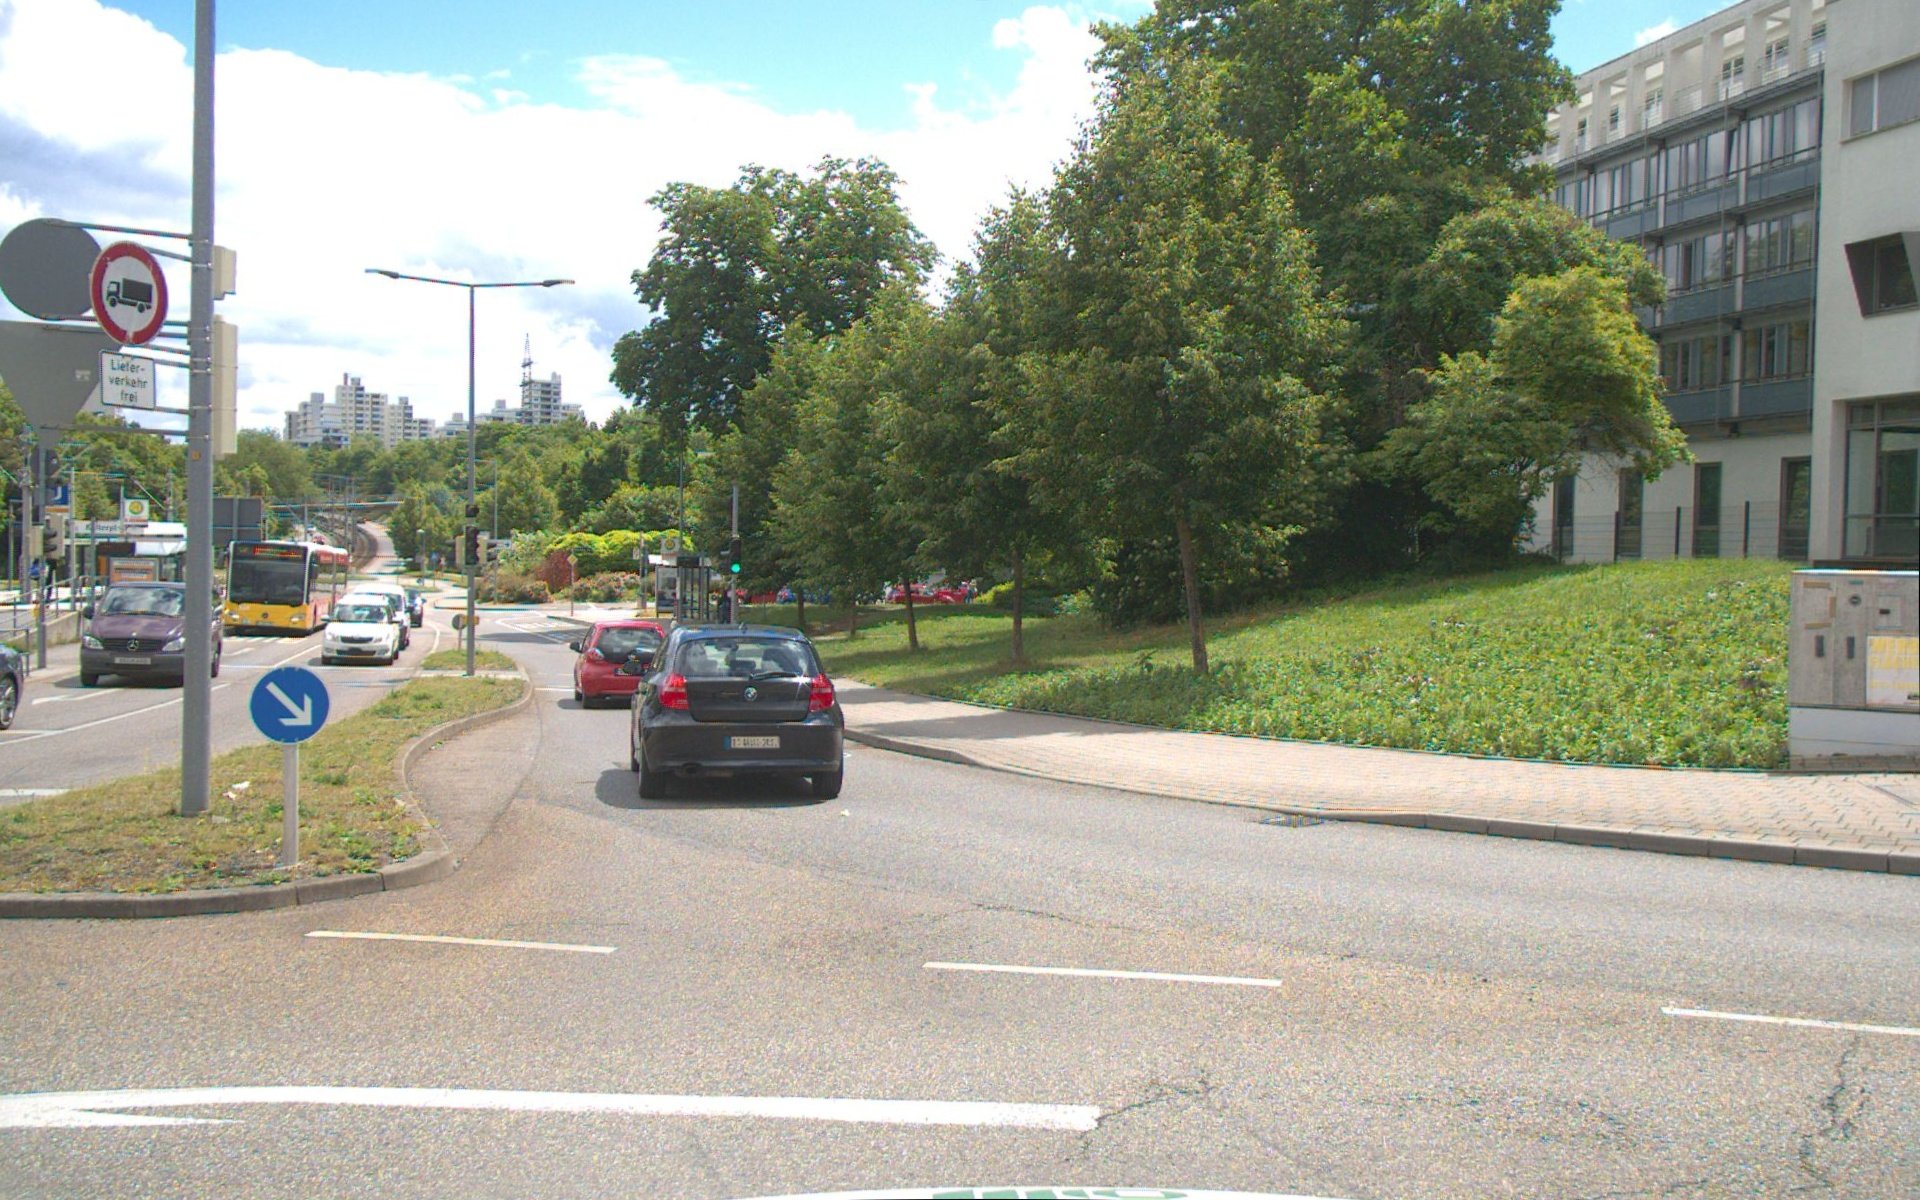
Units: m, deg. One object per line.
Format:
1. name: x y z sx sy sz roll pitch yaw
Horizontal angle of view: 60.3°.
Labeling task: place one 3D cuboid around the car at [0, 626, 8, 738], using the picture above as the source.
1. car: -12.493 0.999 18.896 1.769 1.435 5.026 1 -1 -18

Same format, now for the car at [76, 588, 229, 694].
1. car: -15.363 0.773 31.715 1.963 1.854 5.044 1 -1 -19

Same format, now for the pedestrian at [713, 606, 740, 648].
1. pedestrian: -8.148 0.940 57.667 0.806 1.449 0.826 0 -1 -17

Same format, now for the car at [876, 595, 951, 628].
1. car: -2.511 0.633 89.110 3.632 1.672 1.819 1 2 -20

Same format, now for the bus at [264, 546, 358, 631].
1. bus: -25.741 -0.554 65.927 2.682 3.123 8.924 1 2 -17

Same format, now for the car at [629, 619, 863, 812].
1. car: -2.055 0.912 14.907 1.783 1.445 3.988 0 0 -12

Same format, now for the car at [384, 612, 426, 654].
1. car: -22.518 1.331 67.225 1.506 1.578 3.713 2 -1 -18

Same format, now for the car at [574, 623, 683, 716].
1. car: -5.896 1.169 29.159 1.736 1.457 3.466 0 0 -14

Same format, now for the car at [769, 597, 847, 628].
1. car: -8.015 0.625 87.020 3.738 1.482 1.885 -1 2 -20

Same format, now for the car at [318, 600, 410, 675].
1. car: -14.594 0.874 40.661 1.670 1.677 4.063 2 0 -14

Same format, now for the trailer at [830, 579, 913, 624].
1. trailer: -5.257 0.067 97.831 4.469 2.530 2.209 1 1 -19

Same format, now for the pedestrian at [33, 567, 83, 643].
1. pedestrian: -24.648 0.151 45.220 0.954 2.049 1.025 0 -1 -14

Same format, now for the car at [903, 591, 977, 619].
1. car: -1.199 0.299 99.263 4.020 1.528 1.989 -1 2 -20

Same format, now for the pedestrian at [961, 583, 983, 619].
1. pedestrian: 0.579 0.056 81.386 0.967 1.791 0.857 0 0 -7

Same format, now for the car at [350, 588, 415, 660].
1. car: -17.047 0.666 48.920 1.735 1.691 4.484 0 5 -19

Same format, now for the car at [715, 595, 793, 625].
1. car: -11.855 0.564 95.244 4.099 1.588 1.987 0 3 -23

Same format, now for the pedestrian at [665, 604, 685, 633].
1. pedestrian: -12.742 0.830 73.992 0.813 1.281 0.683 0 0 -15

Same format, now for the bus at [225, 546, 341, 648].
1. bus: -23.121 -0.231 56.892 2.682 3.163 9.661 1 2 -17
